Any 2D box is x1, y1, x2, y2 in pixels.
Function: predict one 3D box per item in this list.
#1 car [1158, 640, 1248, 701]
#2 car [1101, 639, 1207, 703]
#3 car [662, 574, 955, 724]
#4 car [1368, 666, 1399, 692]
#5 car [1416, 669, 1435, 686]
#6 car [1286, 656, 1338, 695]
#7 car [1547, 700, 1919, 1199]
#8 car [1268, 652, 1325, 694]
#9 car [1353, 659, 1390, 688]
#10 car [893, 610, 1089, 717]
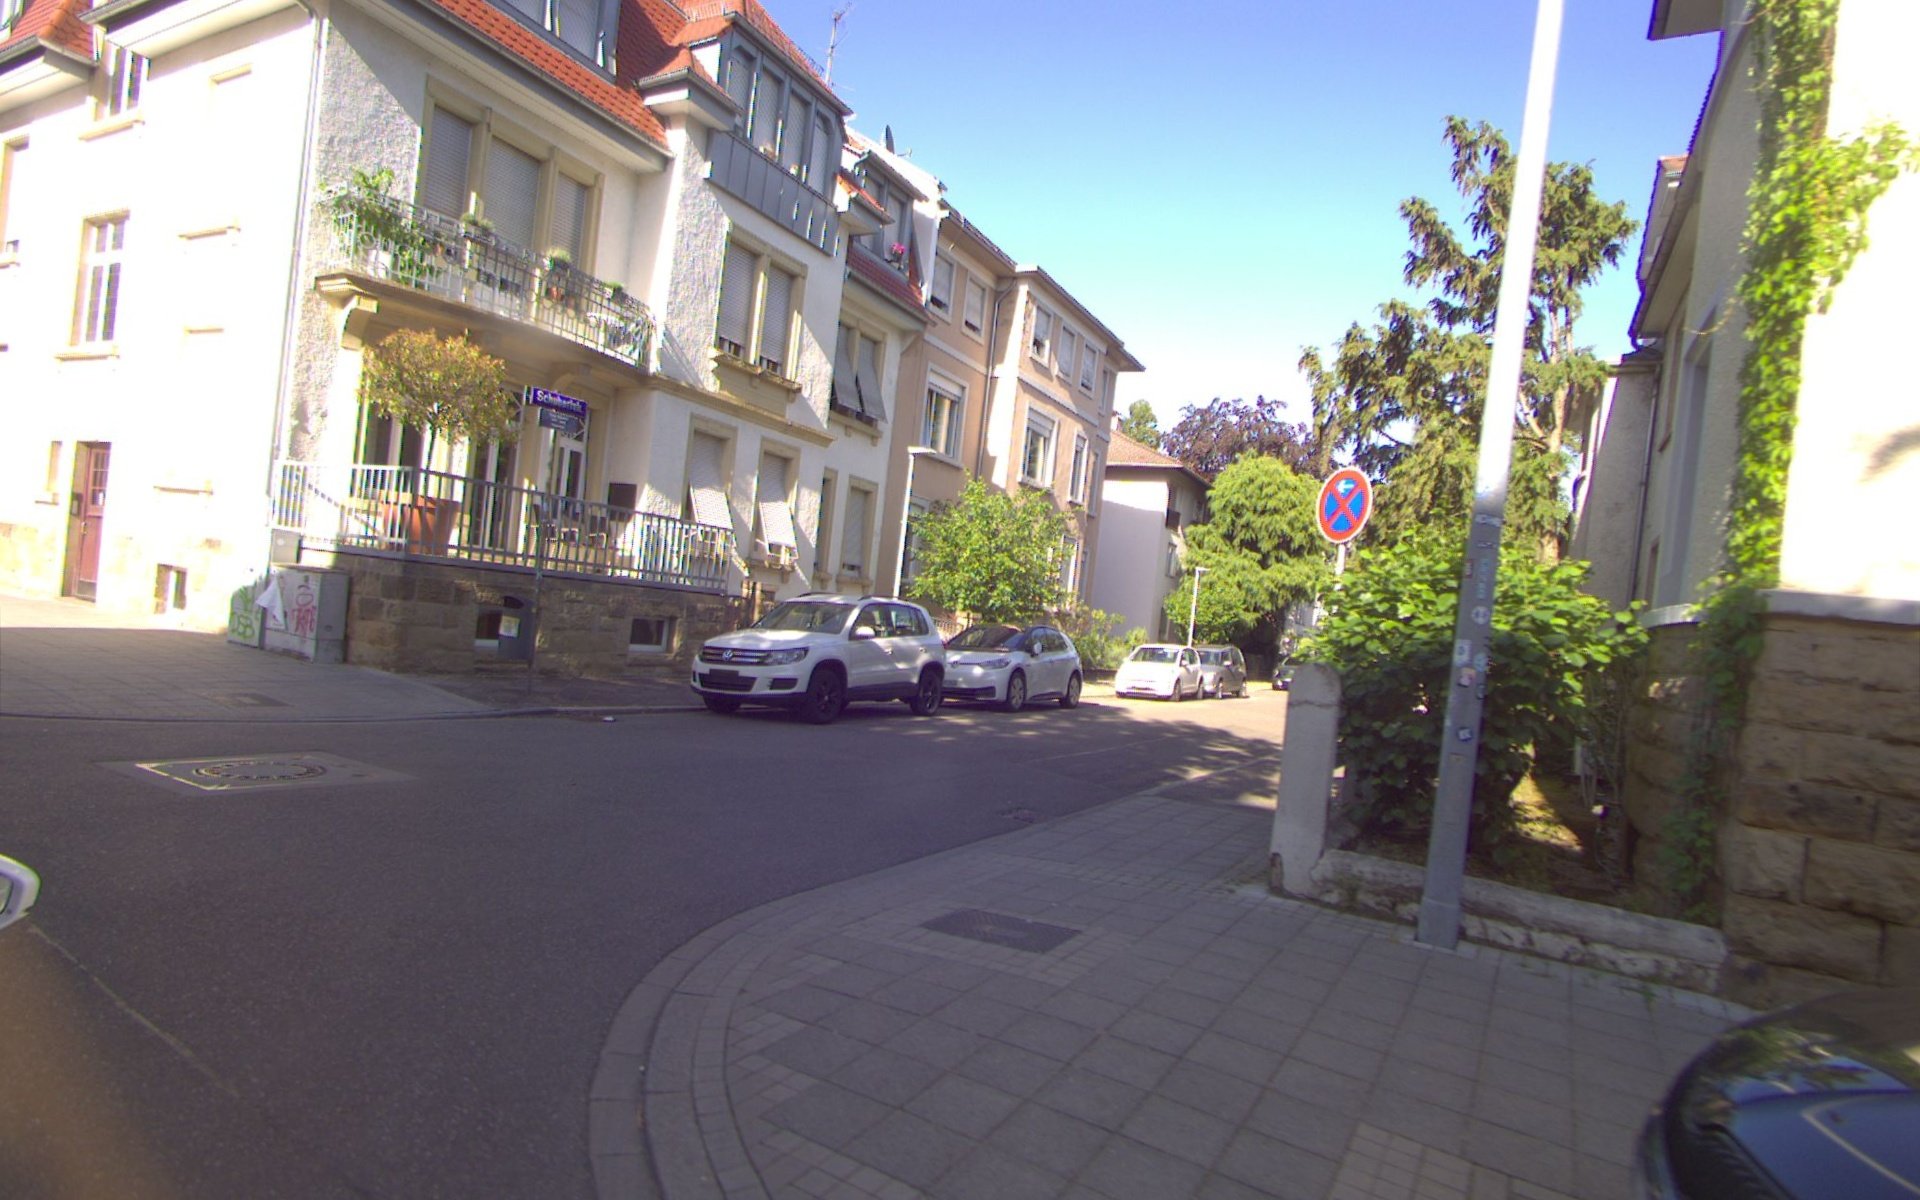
[{"bbox_3d":[7.413,2.134,30.481,1.776,1.600,3.391,4,-2,28],"label":"car"},{"bbox_3d":[5.246,1.901,26.903,1.776,1.468,3.391,4,-2,28],"label":"car"},{"bbox_3d":[-1.848,0.681,13.556,1.761,1.609,3.995,4,-2,29],"label":"car"},{"bbox_3d":[31.045,5.788,73.704,1.645,1.590,3.723,6,-1,28],"label":"car"},{"bbox_3d":[52.494,8.738,113.468,1.645,1.590,3.723,6,-1,28],"label":"car"},{"bbox_3d":[16.954,3.619,48.337,1.645,1.590,3.723,6,-1,28],"label":"car"},{"bbox_3d":[2.991,1.153,1.072,3.933,1.539,1.664,5,0,29],"label":"car"},{"bbox_3d":[14.847,3.226,44.257,1.645,1.590,3.723,6,-1,28],"label":"car"},{"bbox_3d":[26.341,4.729,64.314,1.645,1.590,3.723,6,-1,28],"label":"car"},{"bbox_3d":[0.691,1.149,18.270,1.965,1.568,3.996,4,-2,27],"label":"car"}]
